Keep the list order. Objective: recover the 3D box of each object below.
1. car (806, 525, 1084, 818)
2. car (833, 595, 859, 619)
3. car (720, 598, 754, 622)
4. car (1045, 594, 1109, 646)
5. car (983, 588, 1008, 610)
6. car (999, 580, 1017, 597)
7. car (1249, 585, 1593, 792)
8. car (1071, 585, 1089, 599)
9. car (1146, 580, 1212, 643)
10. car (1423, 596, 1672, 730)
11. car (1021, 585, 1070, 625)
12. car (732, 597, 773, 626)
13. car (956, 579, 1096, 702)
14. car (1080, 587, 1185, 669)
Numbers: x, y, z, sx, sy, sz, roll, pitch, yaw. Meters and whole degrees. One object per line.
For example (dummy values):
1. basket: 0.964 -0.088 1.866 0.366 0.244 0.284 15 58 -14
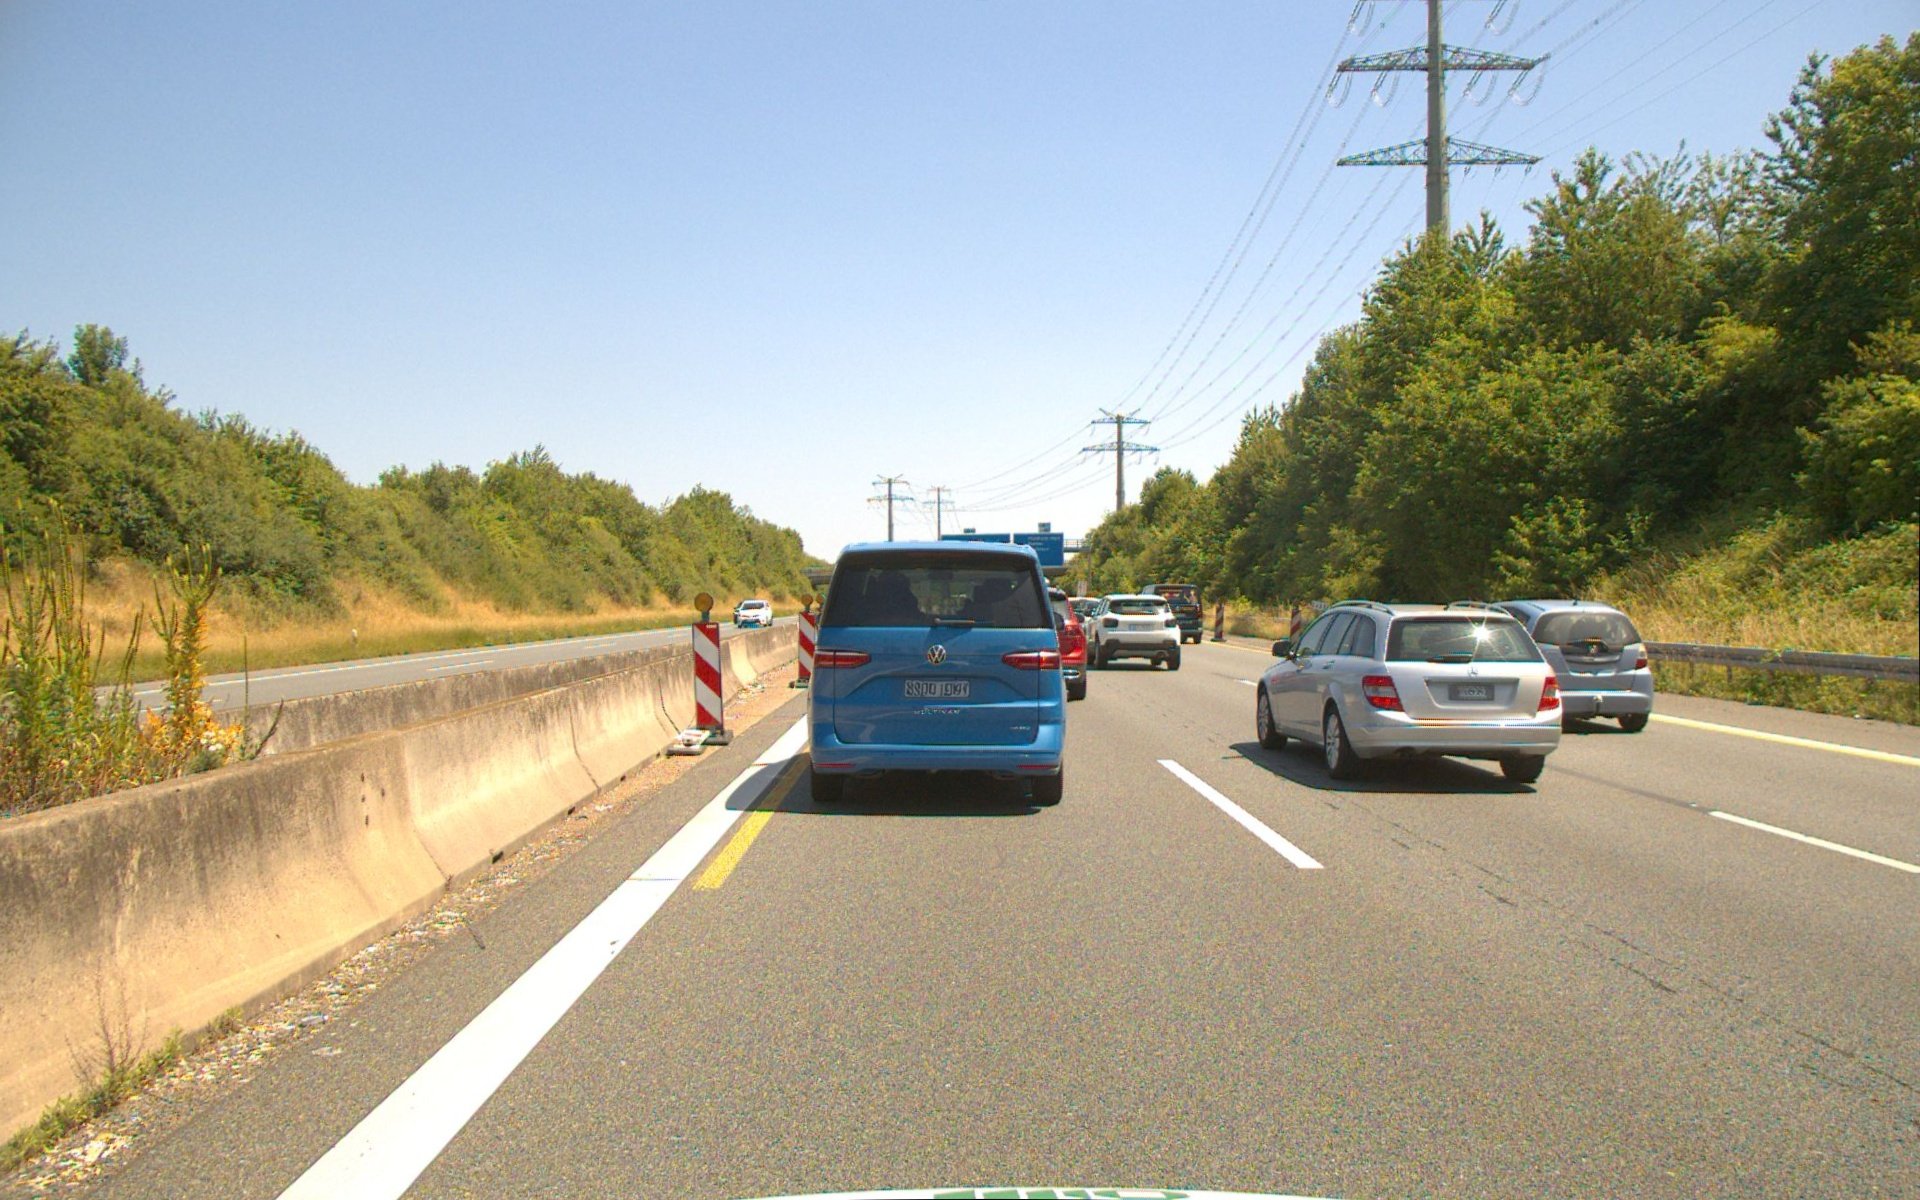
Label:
1. car: -0.158 0.485 13.325 1.837 1.945 4.358 1 0 -2
2. car: -8.432 0.500 122.964 1.737 1.729 4.169 1 0 -2
3. car: -17.014 0.779 126.481 1.953 1.678 4.629 -3 0 -1
4. car: 3.819 0.640 54.586 1.761 1.622 4.226 1 0 -1
5. car: 2.658 -0.073 124.935 1.761 1.622 4.226 1 0 -1
6. car: 6.907 -1.641 237.858 2.329 2.470 4.226 1 0 -1
7. car: 3.905 0.680 14.803 1.735 1.544 4.358 1 0 -2
8. car: 15.006 -0.974 207.001 1.837 1.700 4.358 1 0 -2
9. car: 7.406 0.385 56.340 1.760 2.049 4.227 1 0 1
10. car: 7.099 0.707 20.389 1.666 1.473 3.787 1 0 -1
11. car: 3.575 0.202 69.816 1.761 1.622 4.226 1 0 -1
12. car: -12.506 0.673 99.742 1.953 1.691 4.229 -1 0 -1
13. car: 0.920 0.570 25.349 1.837 1.700 4.358 1 0 -2
14. car: 3.651 0.573 35.669 1.761 1.622 4.226 1 0 -1
